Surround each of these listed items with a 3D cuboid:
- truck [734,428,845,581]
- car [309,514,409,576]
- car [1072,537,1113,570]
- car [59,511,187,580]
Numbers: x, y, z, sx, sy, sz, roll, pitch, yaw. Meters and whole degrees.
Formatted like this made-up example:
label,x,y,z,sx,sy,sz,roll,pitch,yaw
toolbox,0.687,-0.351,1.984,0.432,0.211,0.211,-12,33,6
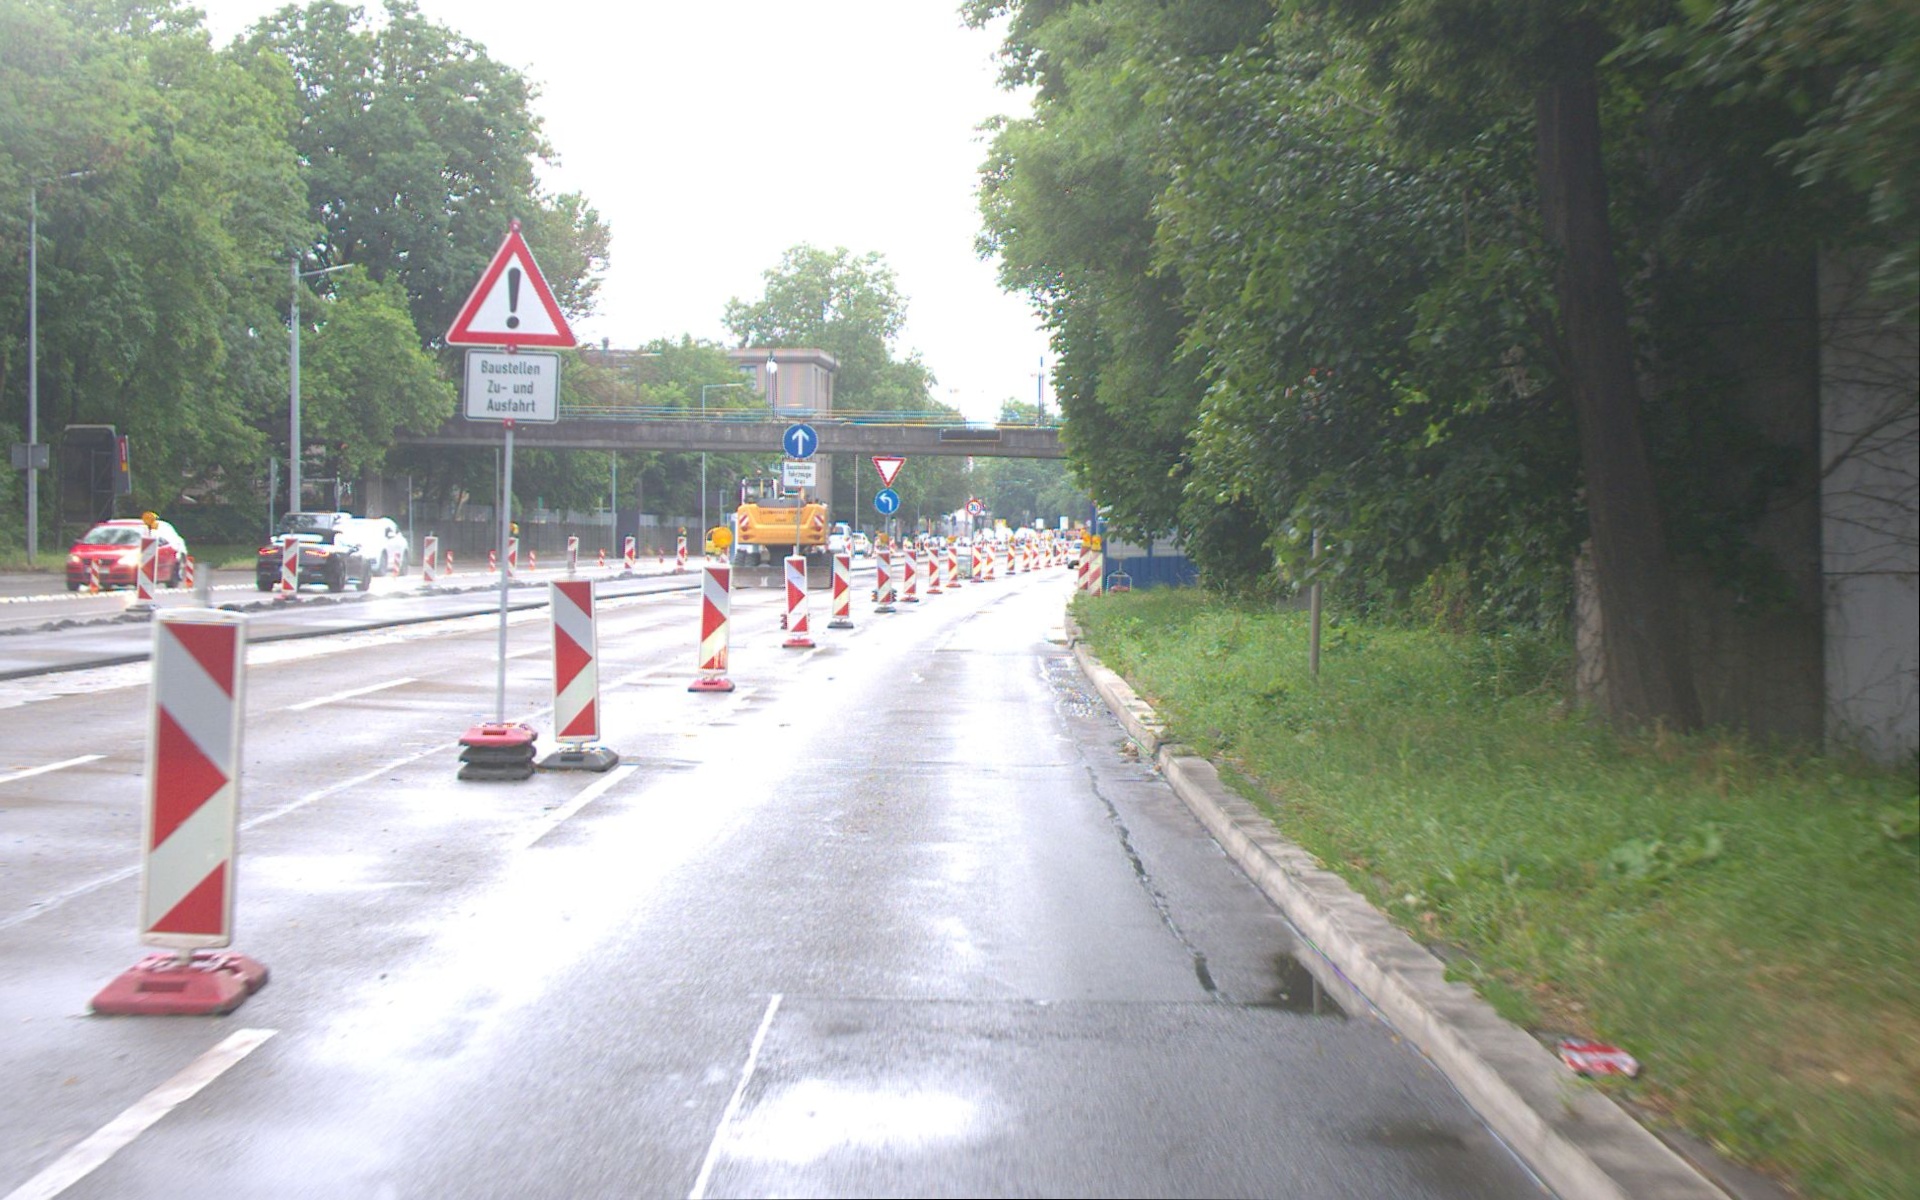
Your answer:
label,x,y,z,sx,sy,sz,roll,pitch,yaw
truck,-5.005,-2.823,102.522,2.897,4.244,10.757,2,1,-1
car,-16.891,-1.557,96.774,1.890,1.655,4.893,1,1,0
car,6.690,-2.343,173.287,1.994,1.634,4.000,0,1,4
car,-17.742,-1.165,73.014,1.679,1.396,4.013,1,1,1
